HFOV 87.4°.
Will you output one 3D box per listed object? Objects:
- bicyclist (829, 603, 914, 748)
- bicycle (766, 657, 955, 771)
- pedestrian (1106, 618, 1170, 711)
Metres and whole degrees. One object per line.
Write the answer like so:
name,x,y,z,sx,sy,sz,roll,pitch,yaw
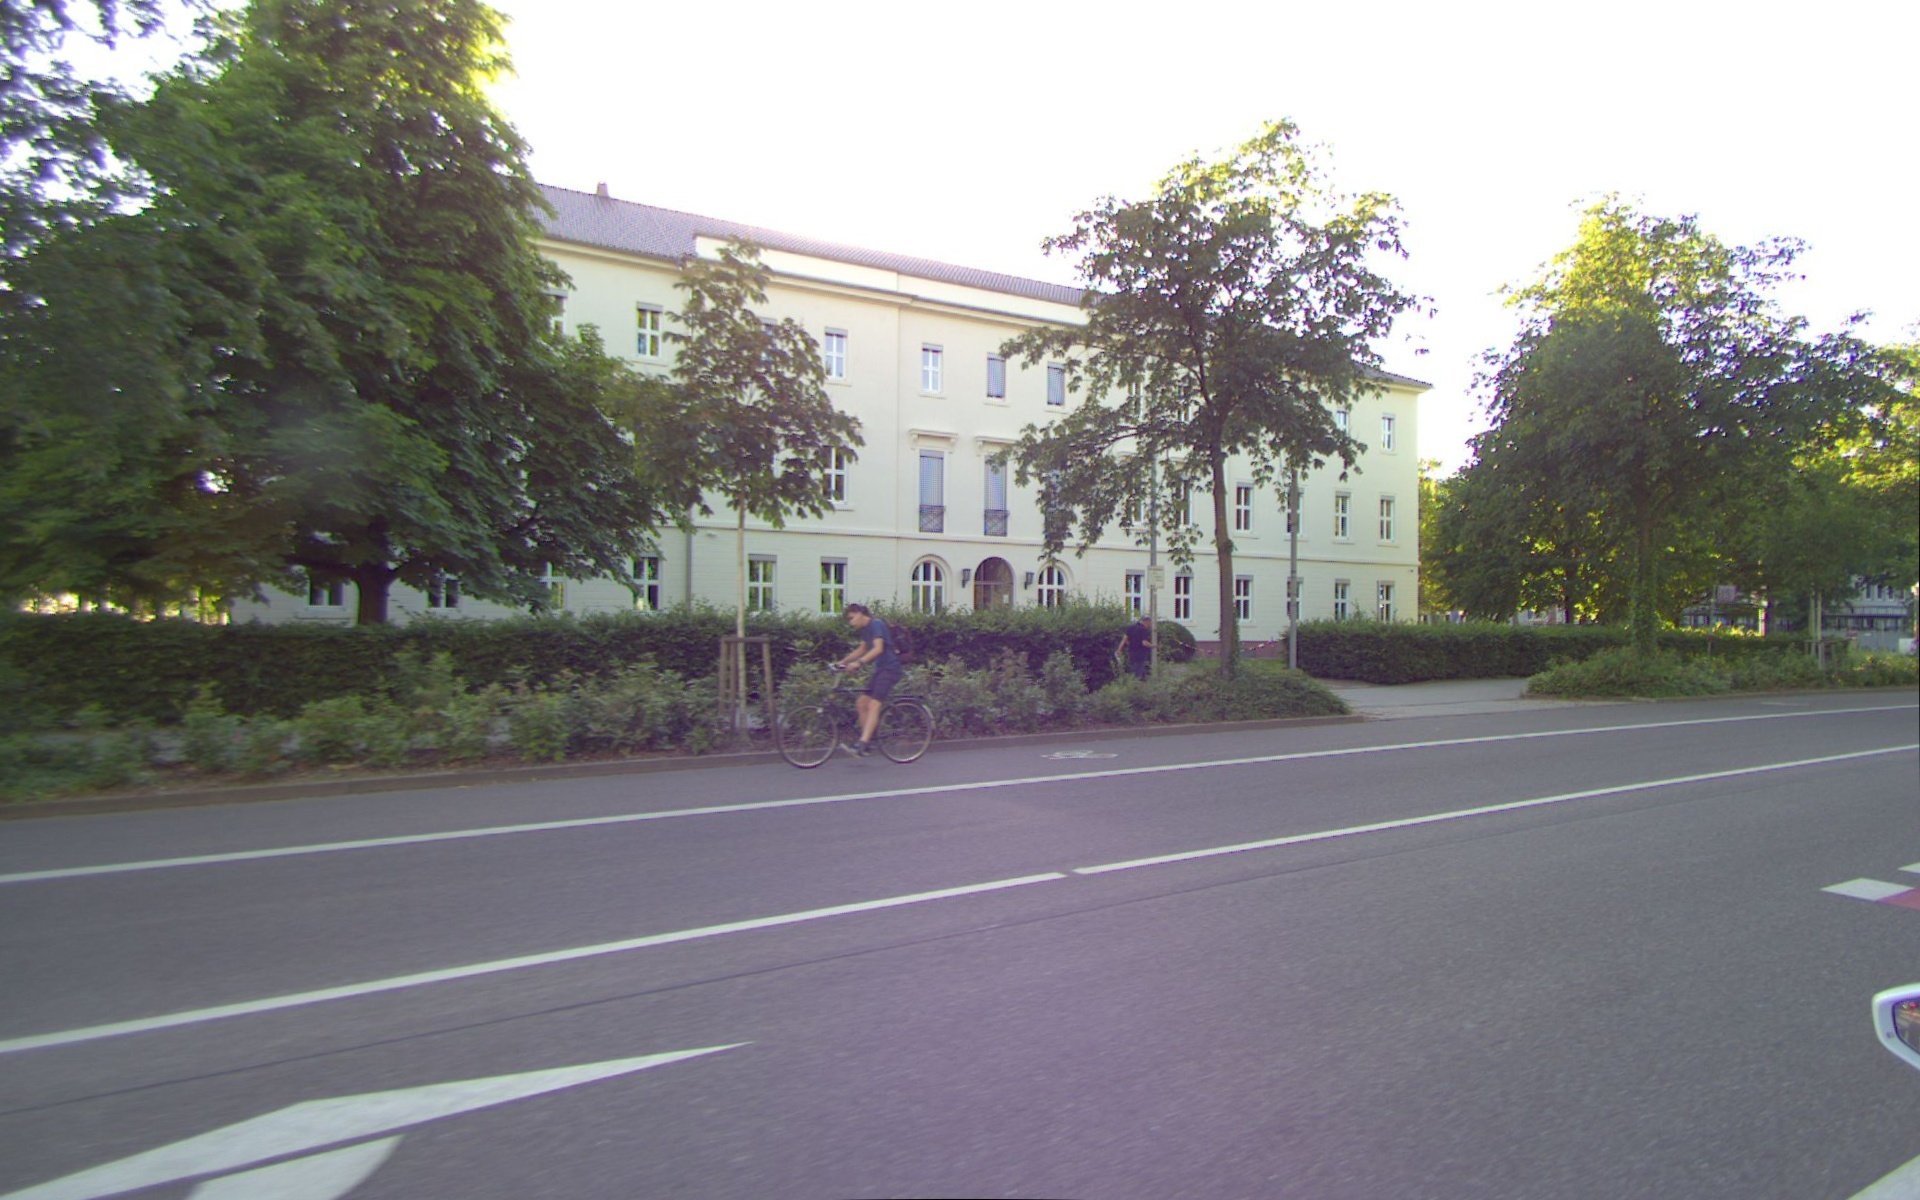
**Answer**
bicyclist,-0.987,0.829,11.161,0.716,1.542,0.626,0,-4,-31
bicycle,-1.072,1.221,11.054,2.004,1.135,0.594,1,-5,-31
pedestrian,3.667,1.318,20.754,0.989,1.875,0.852,1,-2,-30
